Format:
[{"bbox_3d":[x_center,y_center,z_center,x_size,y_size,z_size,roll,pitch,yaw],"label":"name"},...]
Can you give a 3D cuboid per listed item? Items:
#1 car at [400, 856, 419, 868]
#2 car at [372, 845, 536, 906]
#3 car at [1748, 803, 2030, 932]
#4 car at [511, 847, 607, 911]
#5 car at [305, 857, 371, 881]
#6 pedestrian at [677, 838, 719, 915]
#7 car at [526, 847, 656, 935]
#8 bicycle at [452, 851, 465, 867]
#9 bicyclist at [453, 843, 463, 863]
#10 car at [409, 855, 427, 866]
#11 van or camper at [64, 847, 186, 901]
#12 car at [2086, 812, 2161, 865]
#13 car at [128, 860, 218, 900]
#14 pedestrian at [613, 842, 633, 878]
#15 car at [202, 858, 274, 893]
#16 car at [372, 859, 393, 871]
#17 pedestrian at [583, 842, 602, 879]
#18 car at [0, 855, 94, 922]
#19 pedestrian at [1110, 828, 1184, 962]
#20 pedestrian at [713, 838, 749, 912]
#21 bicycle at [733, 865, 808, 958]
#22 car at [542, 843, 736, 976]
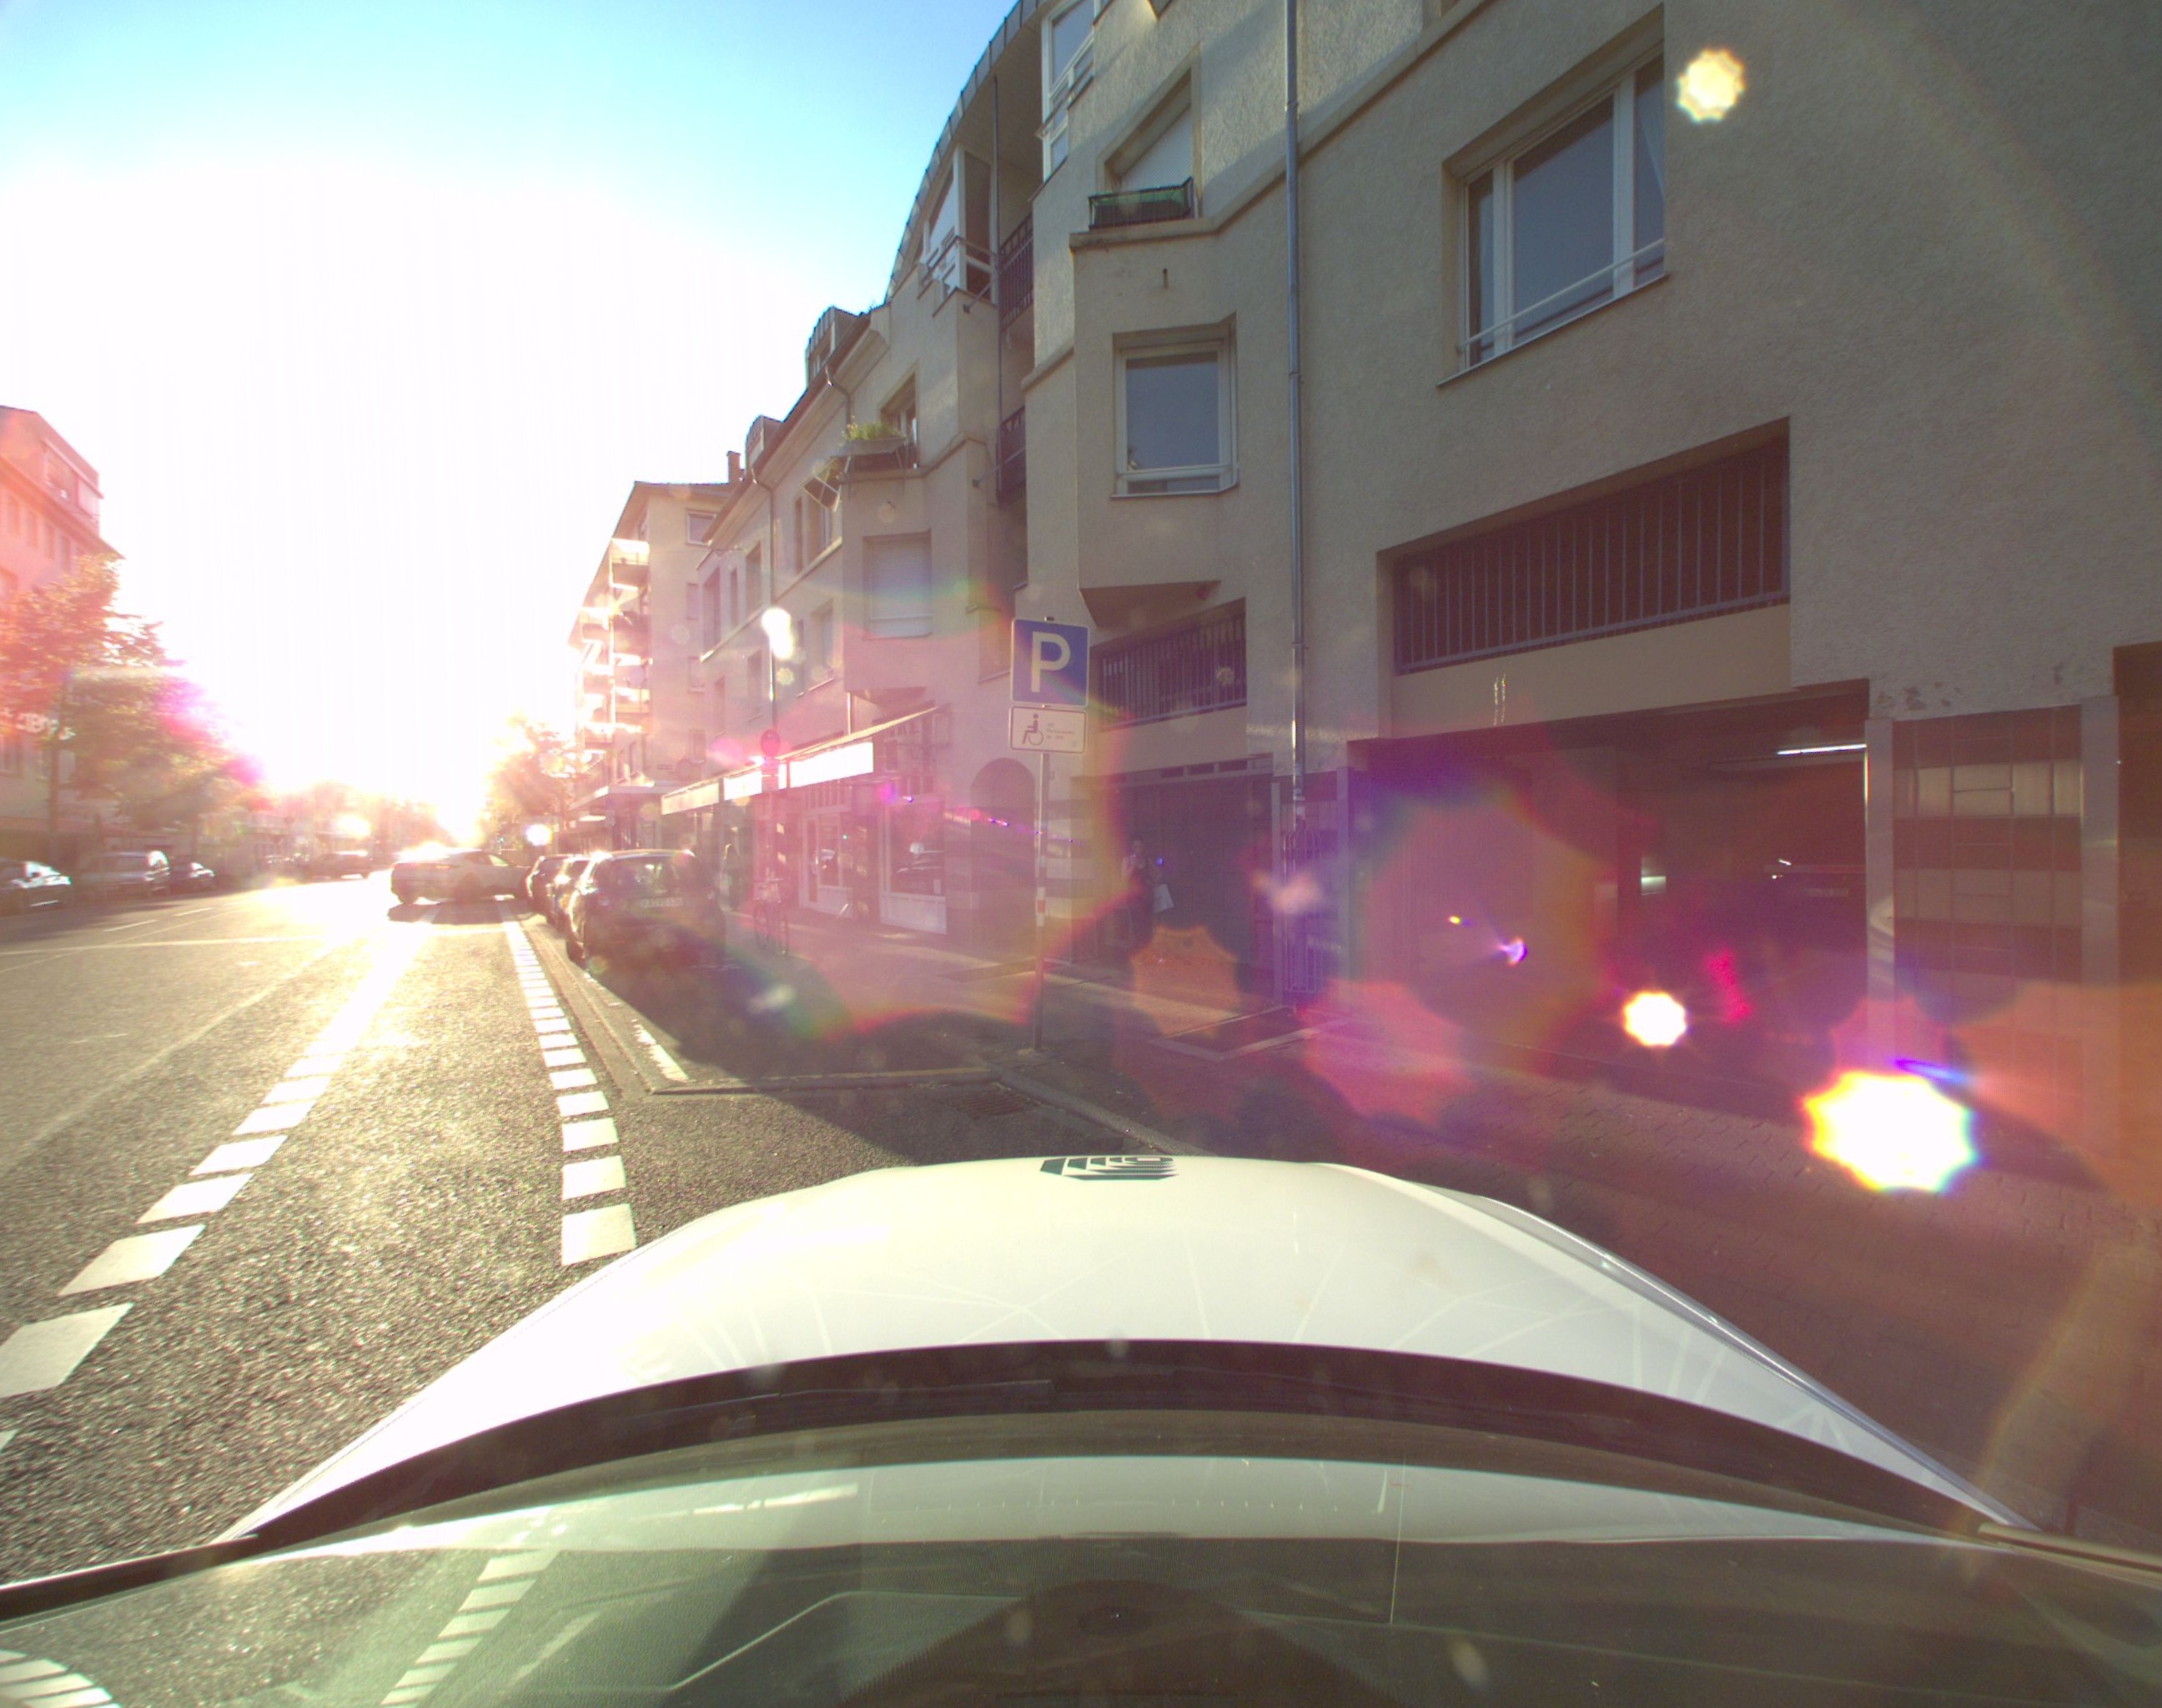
[{"bbox_3d":[-90.741,1.106,110.083,1.702,1.502,3.746,-1,1,-35],"label":"car"},{"bbox_3d":[-18.766,0.599,24.667,1.870,1.697,4.314,0,0,-5],"label":"car"},{"bbox_3d":[11.941,0.113,11.988,4.262,1.573,1.802,-2,1,-29],"label":"car"},{"bbox_3d":[-14.435,0.613,22.436,1.804,1.580,3.743,-1,1,-39],"label":"car"},{"bbox_3d":[-47.100,0.935,51.632,3.615,1.412,1.644,0,0,22],"label":"car"},{"bbox_3d":[-8.890,0.501,18.880,0.635,1.700,1.028,-2,1,-38],"label":"pedestrian"},{"bbox_3d":[-10.299,0.666,17.009,1.804,1.580,3.743,-1,1,-39],"label":"car"},{"bbox_3d":[-48.640,0.381,63.620,0.668,1.243,2.107,1,0,-34],"label":"bicycle"},{"bbox_3d":[-48.657,-0.086,63.577,0.551,1.580,0.794,-2,1,-34],"label":"bicyclist"},{"bbox_3d":[-94.771,0.936,116.358,1.702,1.502,3.746,-1,1,-35],"label":"car"},{"bbox_3d":[-34.719,0.659,29.723,1.801,1.773,4.508,-1,1,-35],"label":"van or camper"},{"bbox_3d":[30.078,-0.440,22.106,1.591,1.391,3.898,-1,1,17],"label":"car"},{"bbox_3d":[-38.040,1.045,34.231,1.702,1.502,3.746,-1,1,-35],"label":"car"},{"bbox_3d":[-23.006,0.292,40.896,0.723,1.791,0.659,-2,1,-36],"label":"pedestrian"},{"bbox_3d":[-40.341,0.985,39.040,1.702,1.502,3.746,-1,1,-35],"label":"car"},{"bbox_3d":[-93.054,1.450,108.492,1.702,1.502,3.746,-1,1,-35],"label":"car"},{"bbox_3d":[-24.570,0.314,40.943,0.723,1.791,0.659,-2,1,-36],"label":"pedestrian"},{"bbox_3d":[-29.011,0.883,21.995,2.010,1.655,4.429,-1,1,-38],"label":"car"},{"bbox_3d":[0.798,0.475,9.925,0.776,1.572,0.532,-1,1,-10],"label":"pedestrian"},{"bbox_3d":[-8.250,0.483,19.194,0.564,1.700,0.822,-2,1,-38],"label":"pedestrian"},{"bbox_3d":[-4.552,0.781,11.878,0.562,1.206,1.956,-1,1,-34],"label":"bicycle"},{"bbox_3d":[-6.607,0.658,11.965,1.804,1.580,3.921,-1,1,-39],"label":"car"}]
